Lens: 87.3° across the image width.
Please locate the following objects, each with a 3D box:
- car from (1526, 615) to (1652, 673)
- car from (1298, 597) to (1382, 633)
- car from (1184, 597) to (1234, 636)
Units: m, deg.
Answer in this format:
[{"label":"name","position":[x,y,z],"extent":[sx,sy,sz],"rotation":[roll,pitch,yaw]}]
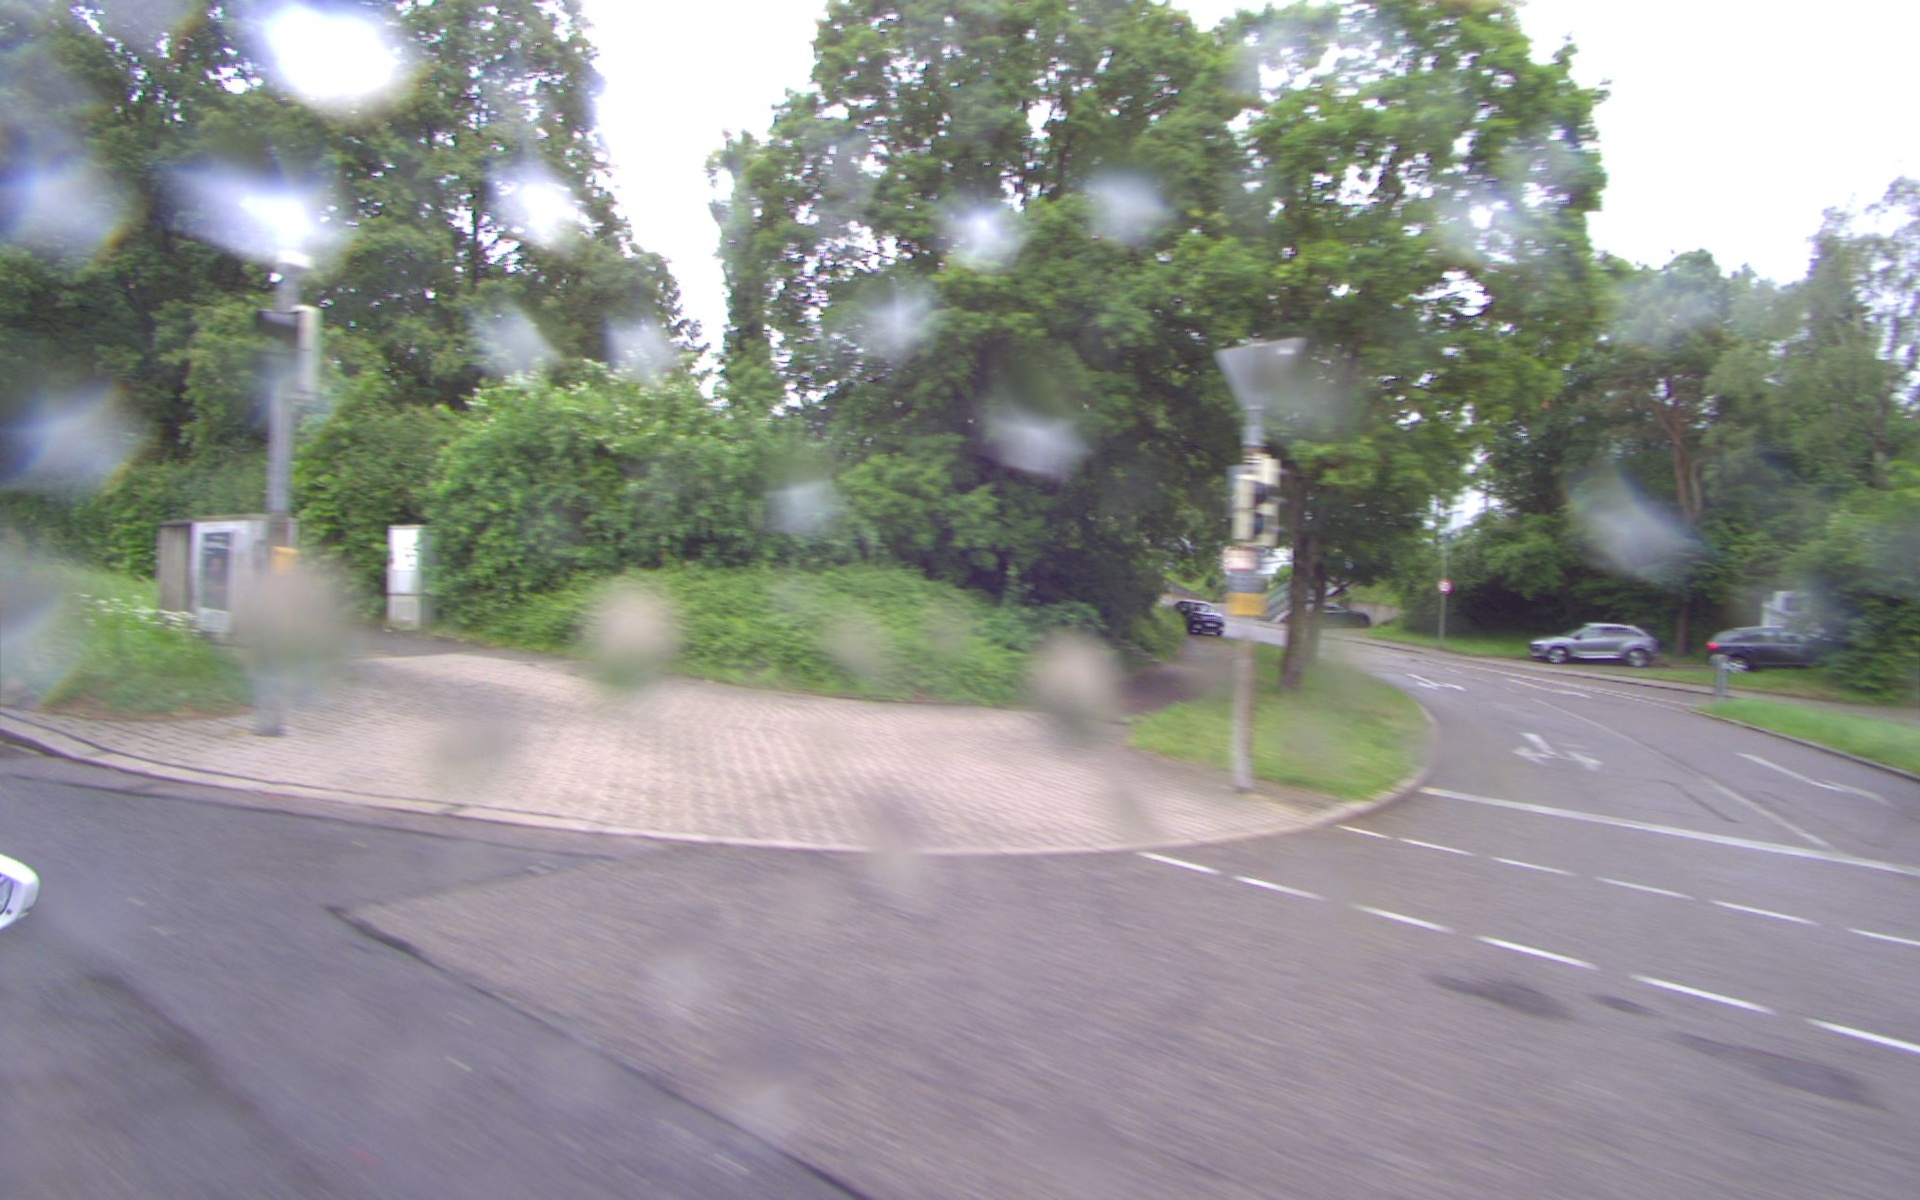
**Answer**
[{"label":"car","position":[25.840,1.765,41.485],"extent":[3.926,1.924,1.955],"rotation":[6,2,21]},{"label":"car","position":[21.791,0.855,57.774],"extent":[3.932,1.669,1.952],"rotation":[5,2,-11]},{"label":"car","position":[11.674,0.759,46.923],"extent":[1.794,1.591,3.997],"rotation":[6,1,19]}]
